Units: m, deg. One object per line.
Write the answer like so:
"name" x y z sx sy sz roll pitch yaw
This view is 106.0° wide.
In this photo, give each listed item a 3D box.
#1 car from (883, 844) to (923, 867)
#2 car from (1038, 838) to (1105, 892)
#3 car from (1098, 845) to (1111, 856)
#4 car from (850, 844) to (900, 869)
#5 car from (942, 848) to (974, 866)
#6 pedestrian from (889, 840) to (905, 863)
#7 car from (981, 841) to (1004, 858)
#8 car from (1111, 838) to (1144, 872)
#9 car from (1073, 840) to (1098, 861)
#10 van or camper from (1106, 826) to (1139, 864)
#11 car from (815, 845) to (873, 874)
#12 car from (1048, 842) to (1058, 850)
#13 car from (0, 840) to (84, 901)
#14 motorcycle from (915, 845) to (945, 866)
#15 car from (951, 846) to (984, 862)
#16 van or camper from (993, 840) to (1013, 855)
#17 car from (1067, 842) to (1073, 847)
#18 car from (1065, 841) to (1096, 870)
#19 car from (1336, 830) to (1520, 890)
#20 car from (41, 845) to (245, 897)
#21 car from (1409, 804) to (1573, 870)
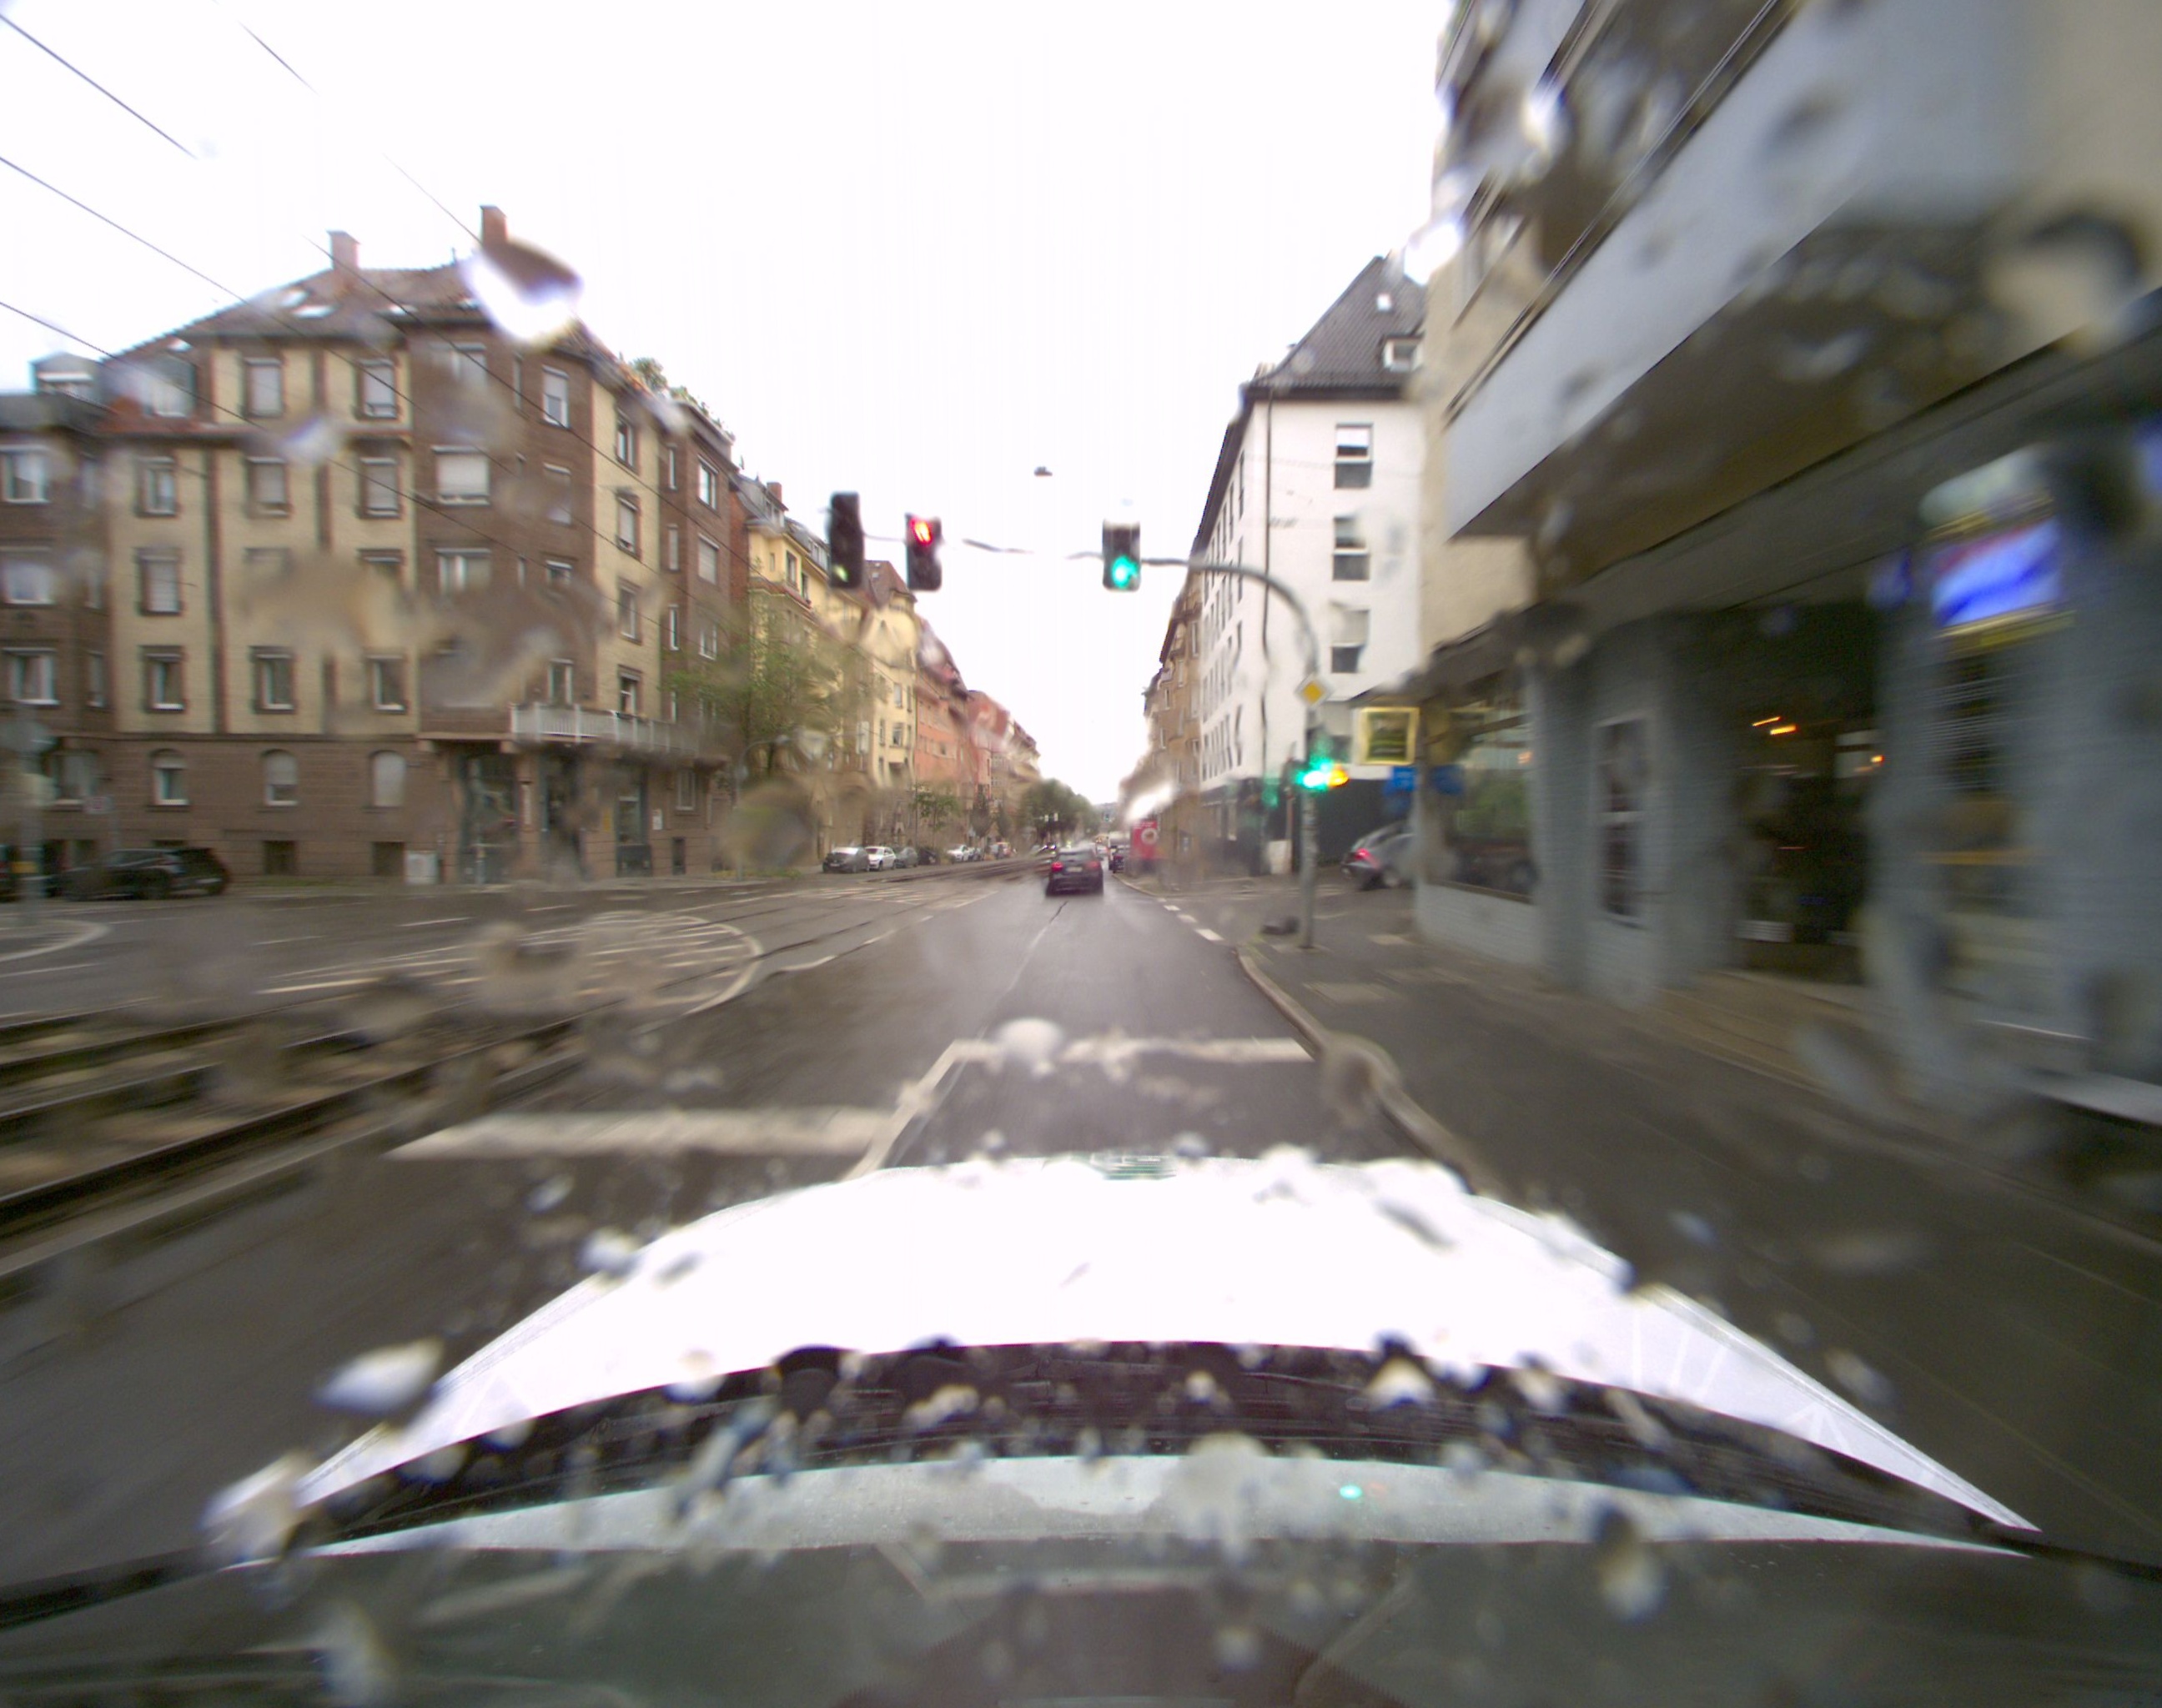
"car" -12.090 0.081 55.442 1.554 1.437 4.150 -1 2 3
"car" -0.231 0.333 25.600 1.939 1.564 3.644 0 0 1
"car" 3.467 -0.563 120.526 1.895 1.593 4.002 -1 0 2
"car" -12.402 0.133 49.223 1.659 1.426 4.267 0 0 4
"car" -11.106 0.217 73.979 1.775 1.589 4.359 0 0 6
"pedestrian" -14.288 -0.178 63.183 1.003 1.753 0.925 1 1 2
"car" -10.490 -0.553 96.453 1.985 1.901 4.703 0 0 3
"car" 2.648 0.033 46.536 1.761 1.808 4.485 1 0 3
"car" 0.356 -0.312 68.701 1.916 1.655 3.999 -1 2 -1
"van or camper" 2.804 -0.578 55.092 2.056 2.469 6.123 0 0 3
"car" -12.791 0.293 44.166 1.757 1.486 4.003 0 0 3
"car" -6.359 -1.823 186.576 1.985 1.793 4.003 1 1 3
"car" -34.020 0.481 25.319 3.969 1.812 1.814 0 0 3
"motorcycle" -11.752 0.111 63.402 2.263 1.642 1.286 0 0 -15
"car" -11.088 -0.031 79.882 1.984 1.509 4.982 2 1 5
"van or camper" -9.990 -0.870 104.543 1.987 1.901 4.699 -1 1 1
"car" -3.298 -2.824 245.957 1.790 1.548 3.998 0 0 -1
"car" 0.022 0.052 46.466 1.529 1.510 4.004 1 1 3
"car" 8.736 0.140 20.778 3.969 1.414 1.763 -1 1 4
"car" -28.761 0.497 25.059 4.194 1.565 1.844 0 0 2
"car" 12.008 -0.520 24.041 3.967 1.690 1.743 -2 3 5
